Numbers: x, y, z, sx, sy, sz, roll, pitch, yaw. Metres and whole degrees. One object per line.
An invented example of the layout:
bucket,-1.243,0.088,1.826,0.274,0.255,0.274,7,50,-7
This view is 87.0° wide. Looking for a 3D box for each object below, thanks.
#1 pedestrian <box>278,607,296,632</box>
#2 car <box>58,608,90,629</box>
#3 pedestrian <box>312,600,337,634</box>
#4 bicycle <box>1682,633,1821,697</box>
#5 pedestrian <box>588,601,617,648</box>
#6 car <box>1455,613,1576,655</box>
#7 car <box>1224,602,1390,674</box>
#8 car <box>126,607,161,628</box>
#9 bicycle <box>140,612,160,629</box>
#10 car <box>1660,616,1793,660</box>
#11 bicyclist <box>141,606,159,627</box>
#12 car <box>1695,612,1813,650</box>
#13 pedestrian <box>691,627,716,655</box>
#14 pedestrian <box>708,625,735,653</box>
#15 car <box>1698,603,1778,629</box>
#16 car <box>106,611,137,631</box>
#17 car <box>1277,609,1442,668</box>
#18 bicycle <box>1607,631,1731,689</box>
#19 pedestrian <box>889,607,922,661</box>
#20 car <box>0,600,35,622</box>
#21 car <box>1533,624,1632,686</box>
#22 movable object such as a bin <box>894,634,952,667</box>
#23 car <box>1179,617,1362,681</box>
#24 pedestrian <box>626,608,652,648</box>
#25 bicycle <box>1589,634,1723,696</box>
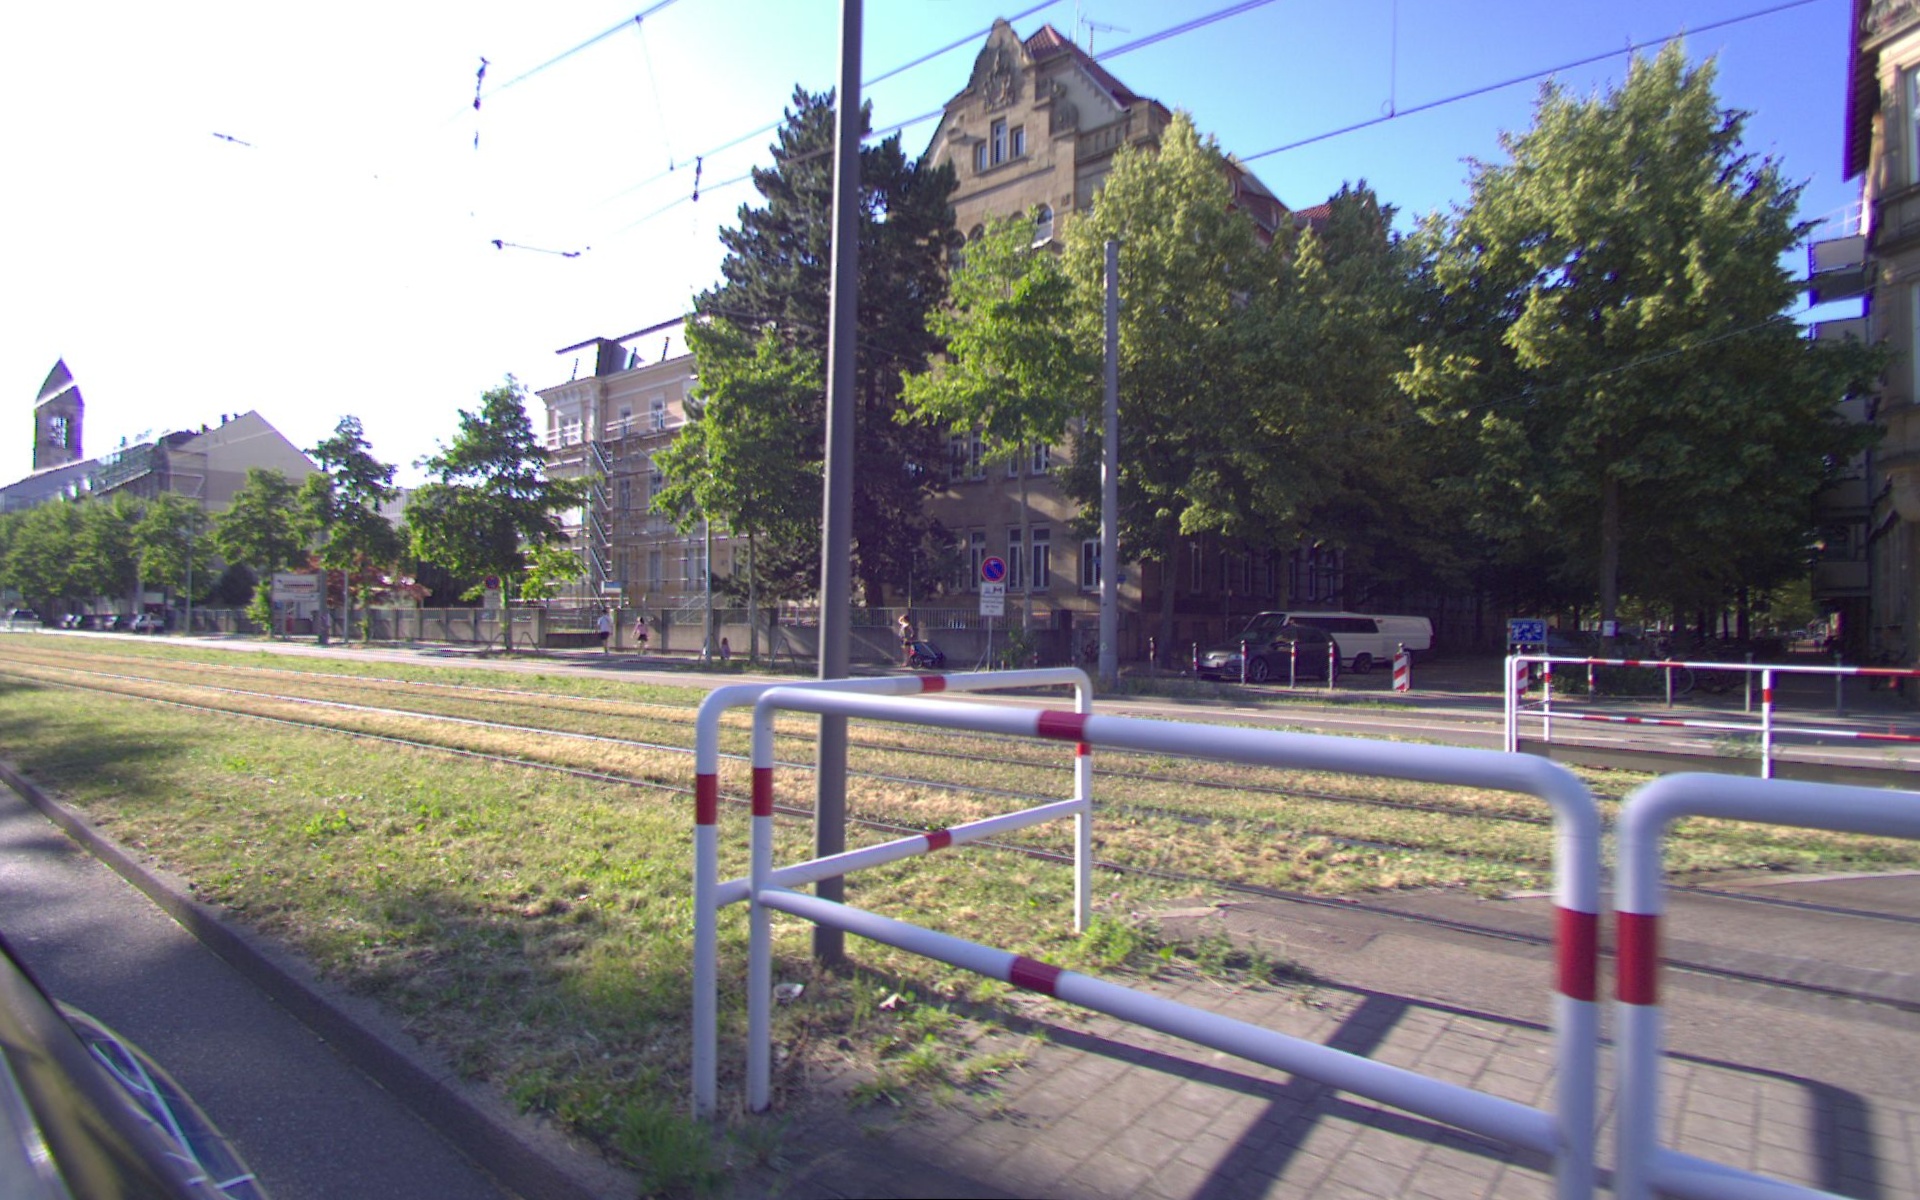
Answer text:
pedestrian,-45.161,1.290,67.930,0.811,1.660,0.718,0,-3,34
car,-89.545,1.815,102.305,3.999,2.029,1.972,0,0,42
pedestrian,-36.713,0.998,58.435,1.085,1.942,0.849,0,-3,39
bicycle,16.556,1.330,21.206,2.240,1.187,0.777,0,0,42
pedestrian,-14.098,0.964,39.878,0.887,1.789,0.643,0,-3,39
car,27.471,1.656,50.261,4.975,1.932,2.053,-1,0,22
car,10.629,1.100,31.031,4.534,2.029,2.007,-1,0,-21
car,-65.791,1.370,81.530,4.067,1.598,1.702,0,1,45
bicycle,-57.127,1.444,71.402,1.754,1.202,0.767,0,0,40
car,37.003,1.788,48.991,5.002,1.932,2.041,0,0,38
bicyclist,-57.166,1.170,71.431,1.133,1.492,0.767,0,0,40
car,43.186,1.666,55.205,5.002,1.932,2.041,0,0,38
pedestrian,-8.948,1.432,35.302,0.642,0.939,0.585,3,-3,-45
pedestrian,-8.013,1.311,33.992,0.642,0.939,0.585,3,-3,-45
car,61.737,1.251,80.381,5.002,1.932,2.041,0,0,38
car,-73.353,1.820,88.528,4.067,1.598,1.702,0,1,45
car,13.997,1.323,35.658,4.939,1.932,2.068,-1,0,0
bicycle,15.913,1.326,22.738,2.238,1.187,0.777,0,0,39
pedestrian,-1.665,1.034,30.901,0.796,1.605,0.612,0,0,39
car,-86.589,0.971,92.177,4.450,1.933,1.927,0,-3,27
car,17.587,1.480,28.509,1.997,1.482,4.139,0,0,37
movable object such as a bin,-1.088,1.487,29.935,1.235,0.871,1.233,0,1,38
car,7.944,1.196,25.964,4.119,1.482,2.007,0,0,-21
pedestrian,-12.836,1.117,40.482,0.782,1.551,0.643,0,-3,39
bicycle,15.017,1.382,21.895,0.775,1.187,2.245,-1,0,-38
